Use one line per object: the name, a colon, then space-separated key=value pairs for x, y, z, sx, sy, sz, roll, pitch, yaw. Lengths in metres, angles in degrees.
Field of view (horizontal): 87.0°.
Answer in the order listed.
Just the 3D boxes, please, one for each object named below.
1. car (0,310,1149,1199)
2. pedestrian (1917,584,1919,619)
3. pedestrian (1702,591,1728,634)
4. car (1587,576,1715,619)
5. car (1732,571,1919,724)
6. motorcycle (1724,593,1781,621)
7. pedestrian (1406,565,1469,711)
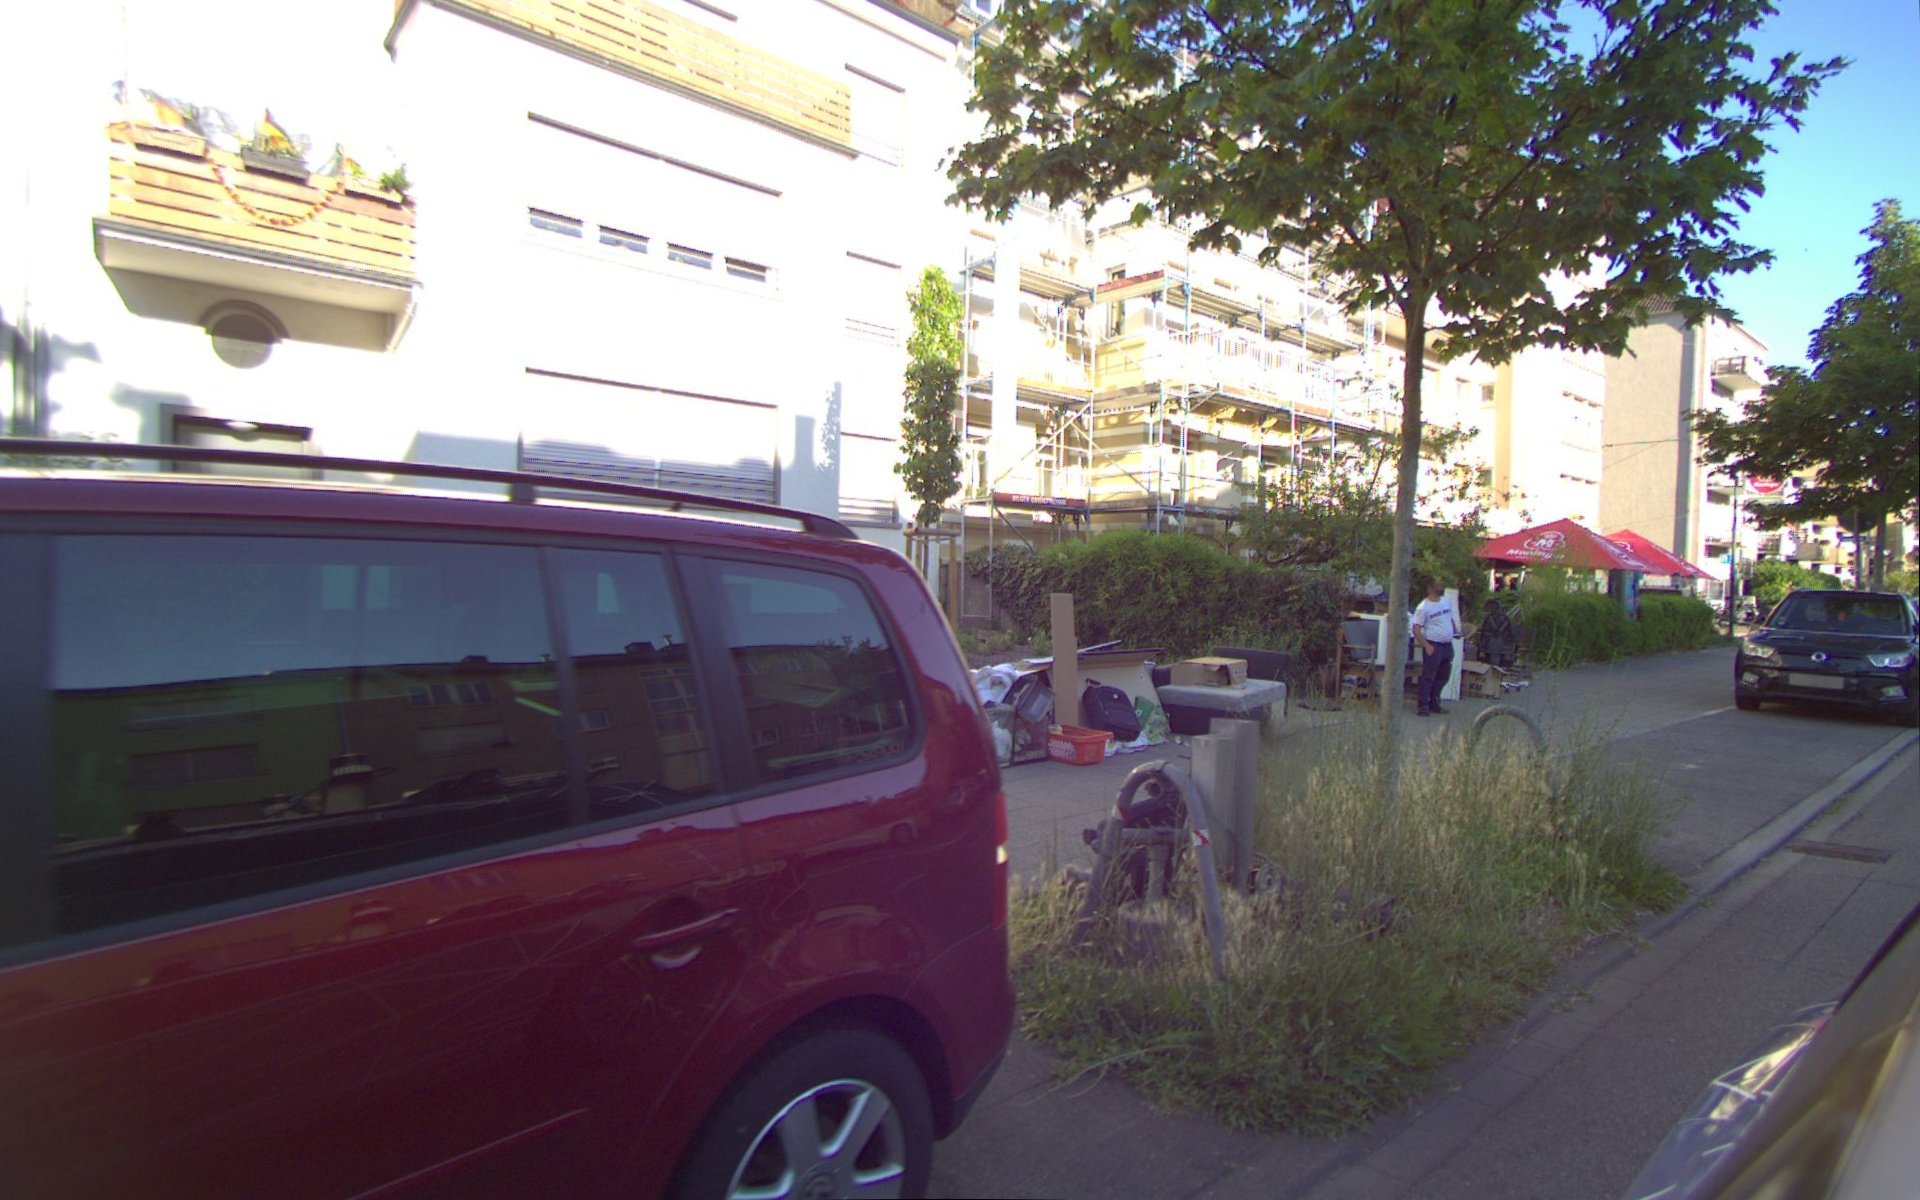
car: x=-1.750 y=0.511 z=1.585 sx=4.522 sy=1.676 sz=1.723 roll=0 pitch=1 yaw=-44
pedestrian: x=47.715 y=0.075 z=49.754 sx=0.648 sy=1.703 sz=0.831 roll=0 pitch=2 yaw=-37
pedestrian: x=20.682 y=0.336 z=27.724 sx=0.620 sy=1.164 sz=0.413 roll=0 pitch=1 yaw=-37
car: x=33.469 y=-0.175 z=49.121 sx=1.920 sy=1.888 sz=4.835 roll=-2 pitch=3 yaw=-43
car: x=11.702 y=0.506 z=13.242 sx=3.960 sy=1.652 sz=1.795 roll=0 pitch=3 yaw=-42
motorcycle: x=35.792 y=0.294 z=45.737 sx=1.980 sy=1.215 sz=0.764 roll=1 pitch=1 yaw=37
pedestrian: x=5.425 y=0.405 z=11.484 sx=0.553 sy=1.587 sz=0.740 roll=1 pitch=1 yaw=31
